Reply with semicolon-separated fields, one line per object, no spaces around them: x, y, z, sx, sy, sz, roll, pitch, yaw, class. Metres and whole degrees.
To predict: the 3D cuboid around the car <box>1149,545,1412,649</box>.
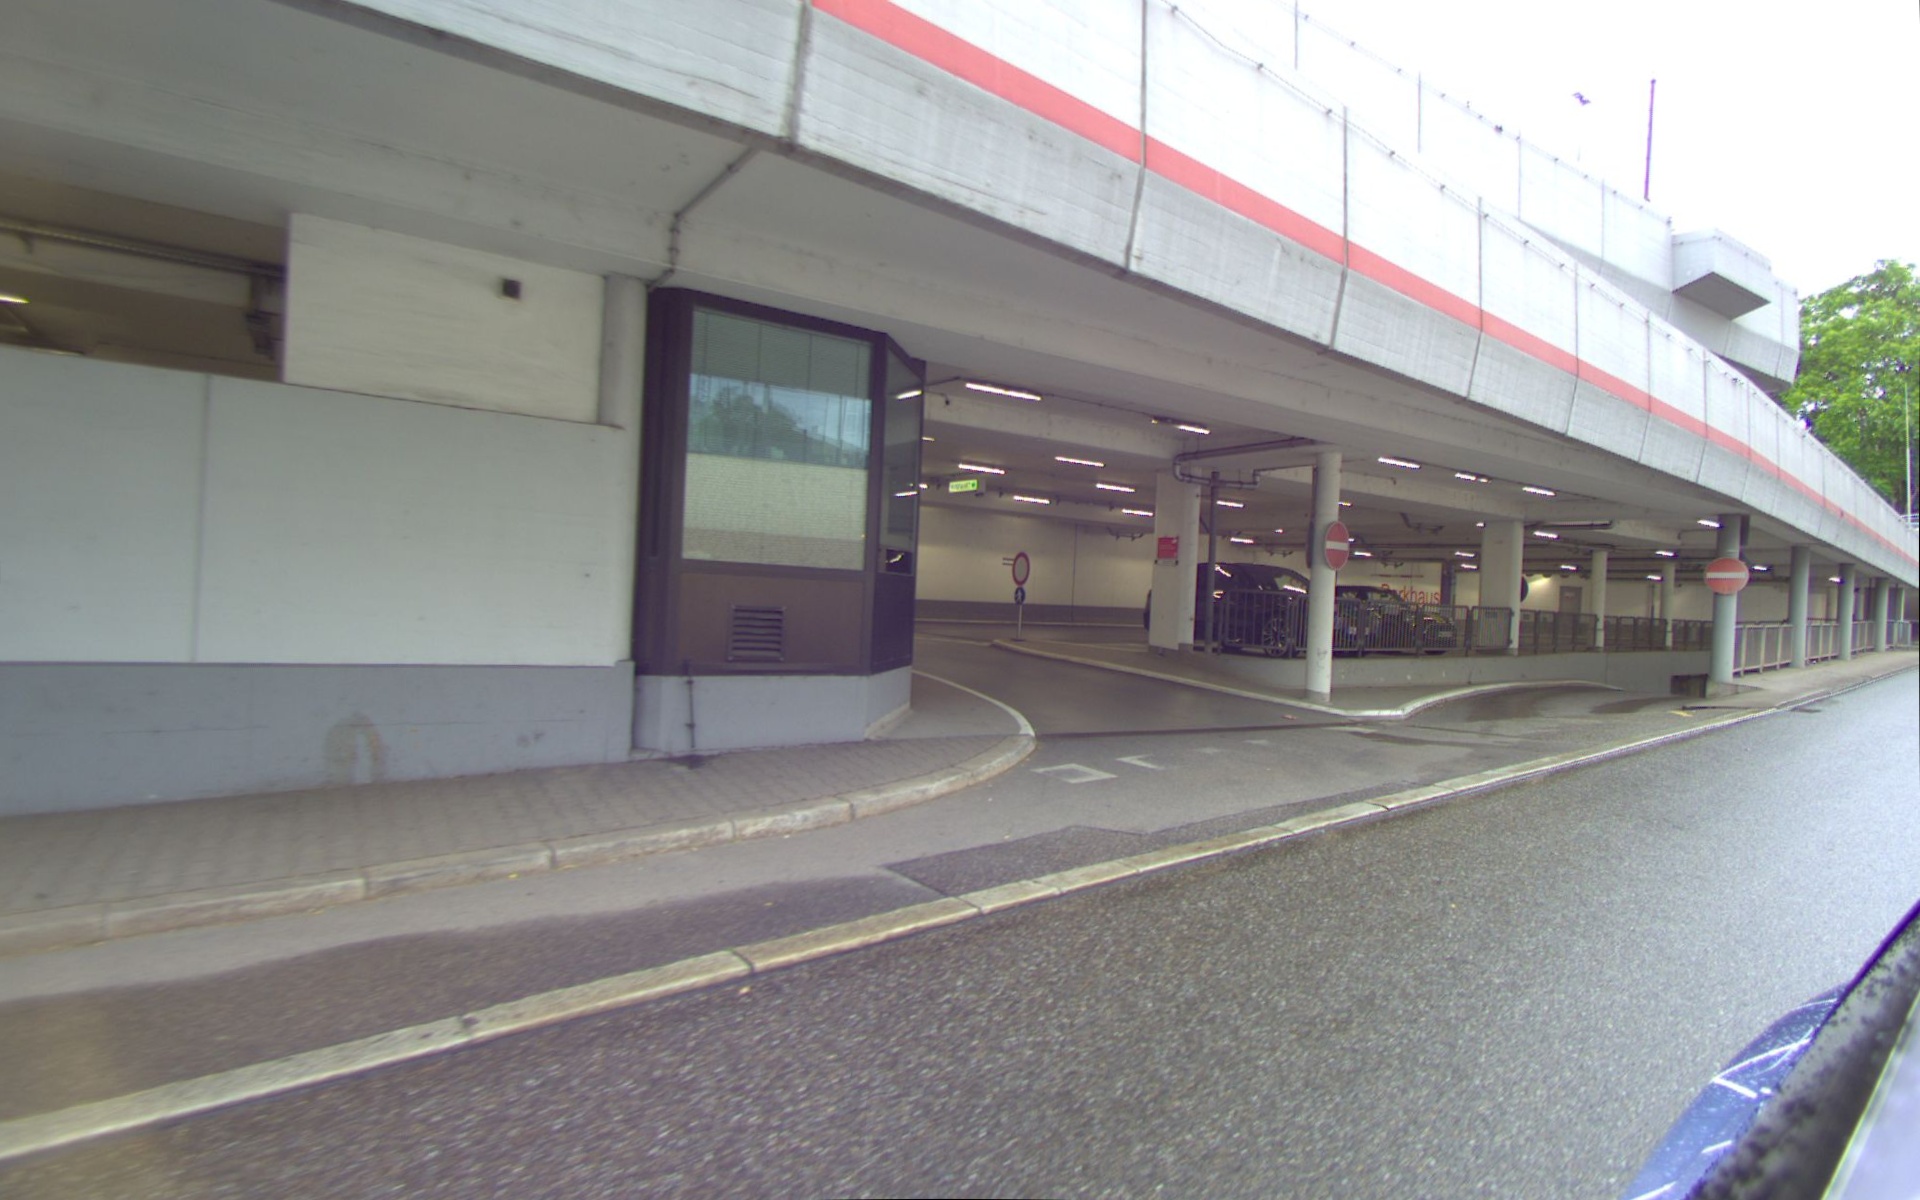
5.685;0.001;18.571;1.785;1.661;4.594;1;-2;-31;car

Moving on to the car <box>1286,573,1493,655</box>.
9.228;0.263;22.010;1.772;1.524;3.737;3;1;-34;car
